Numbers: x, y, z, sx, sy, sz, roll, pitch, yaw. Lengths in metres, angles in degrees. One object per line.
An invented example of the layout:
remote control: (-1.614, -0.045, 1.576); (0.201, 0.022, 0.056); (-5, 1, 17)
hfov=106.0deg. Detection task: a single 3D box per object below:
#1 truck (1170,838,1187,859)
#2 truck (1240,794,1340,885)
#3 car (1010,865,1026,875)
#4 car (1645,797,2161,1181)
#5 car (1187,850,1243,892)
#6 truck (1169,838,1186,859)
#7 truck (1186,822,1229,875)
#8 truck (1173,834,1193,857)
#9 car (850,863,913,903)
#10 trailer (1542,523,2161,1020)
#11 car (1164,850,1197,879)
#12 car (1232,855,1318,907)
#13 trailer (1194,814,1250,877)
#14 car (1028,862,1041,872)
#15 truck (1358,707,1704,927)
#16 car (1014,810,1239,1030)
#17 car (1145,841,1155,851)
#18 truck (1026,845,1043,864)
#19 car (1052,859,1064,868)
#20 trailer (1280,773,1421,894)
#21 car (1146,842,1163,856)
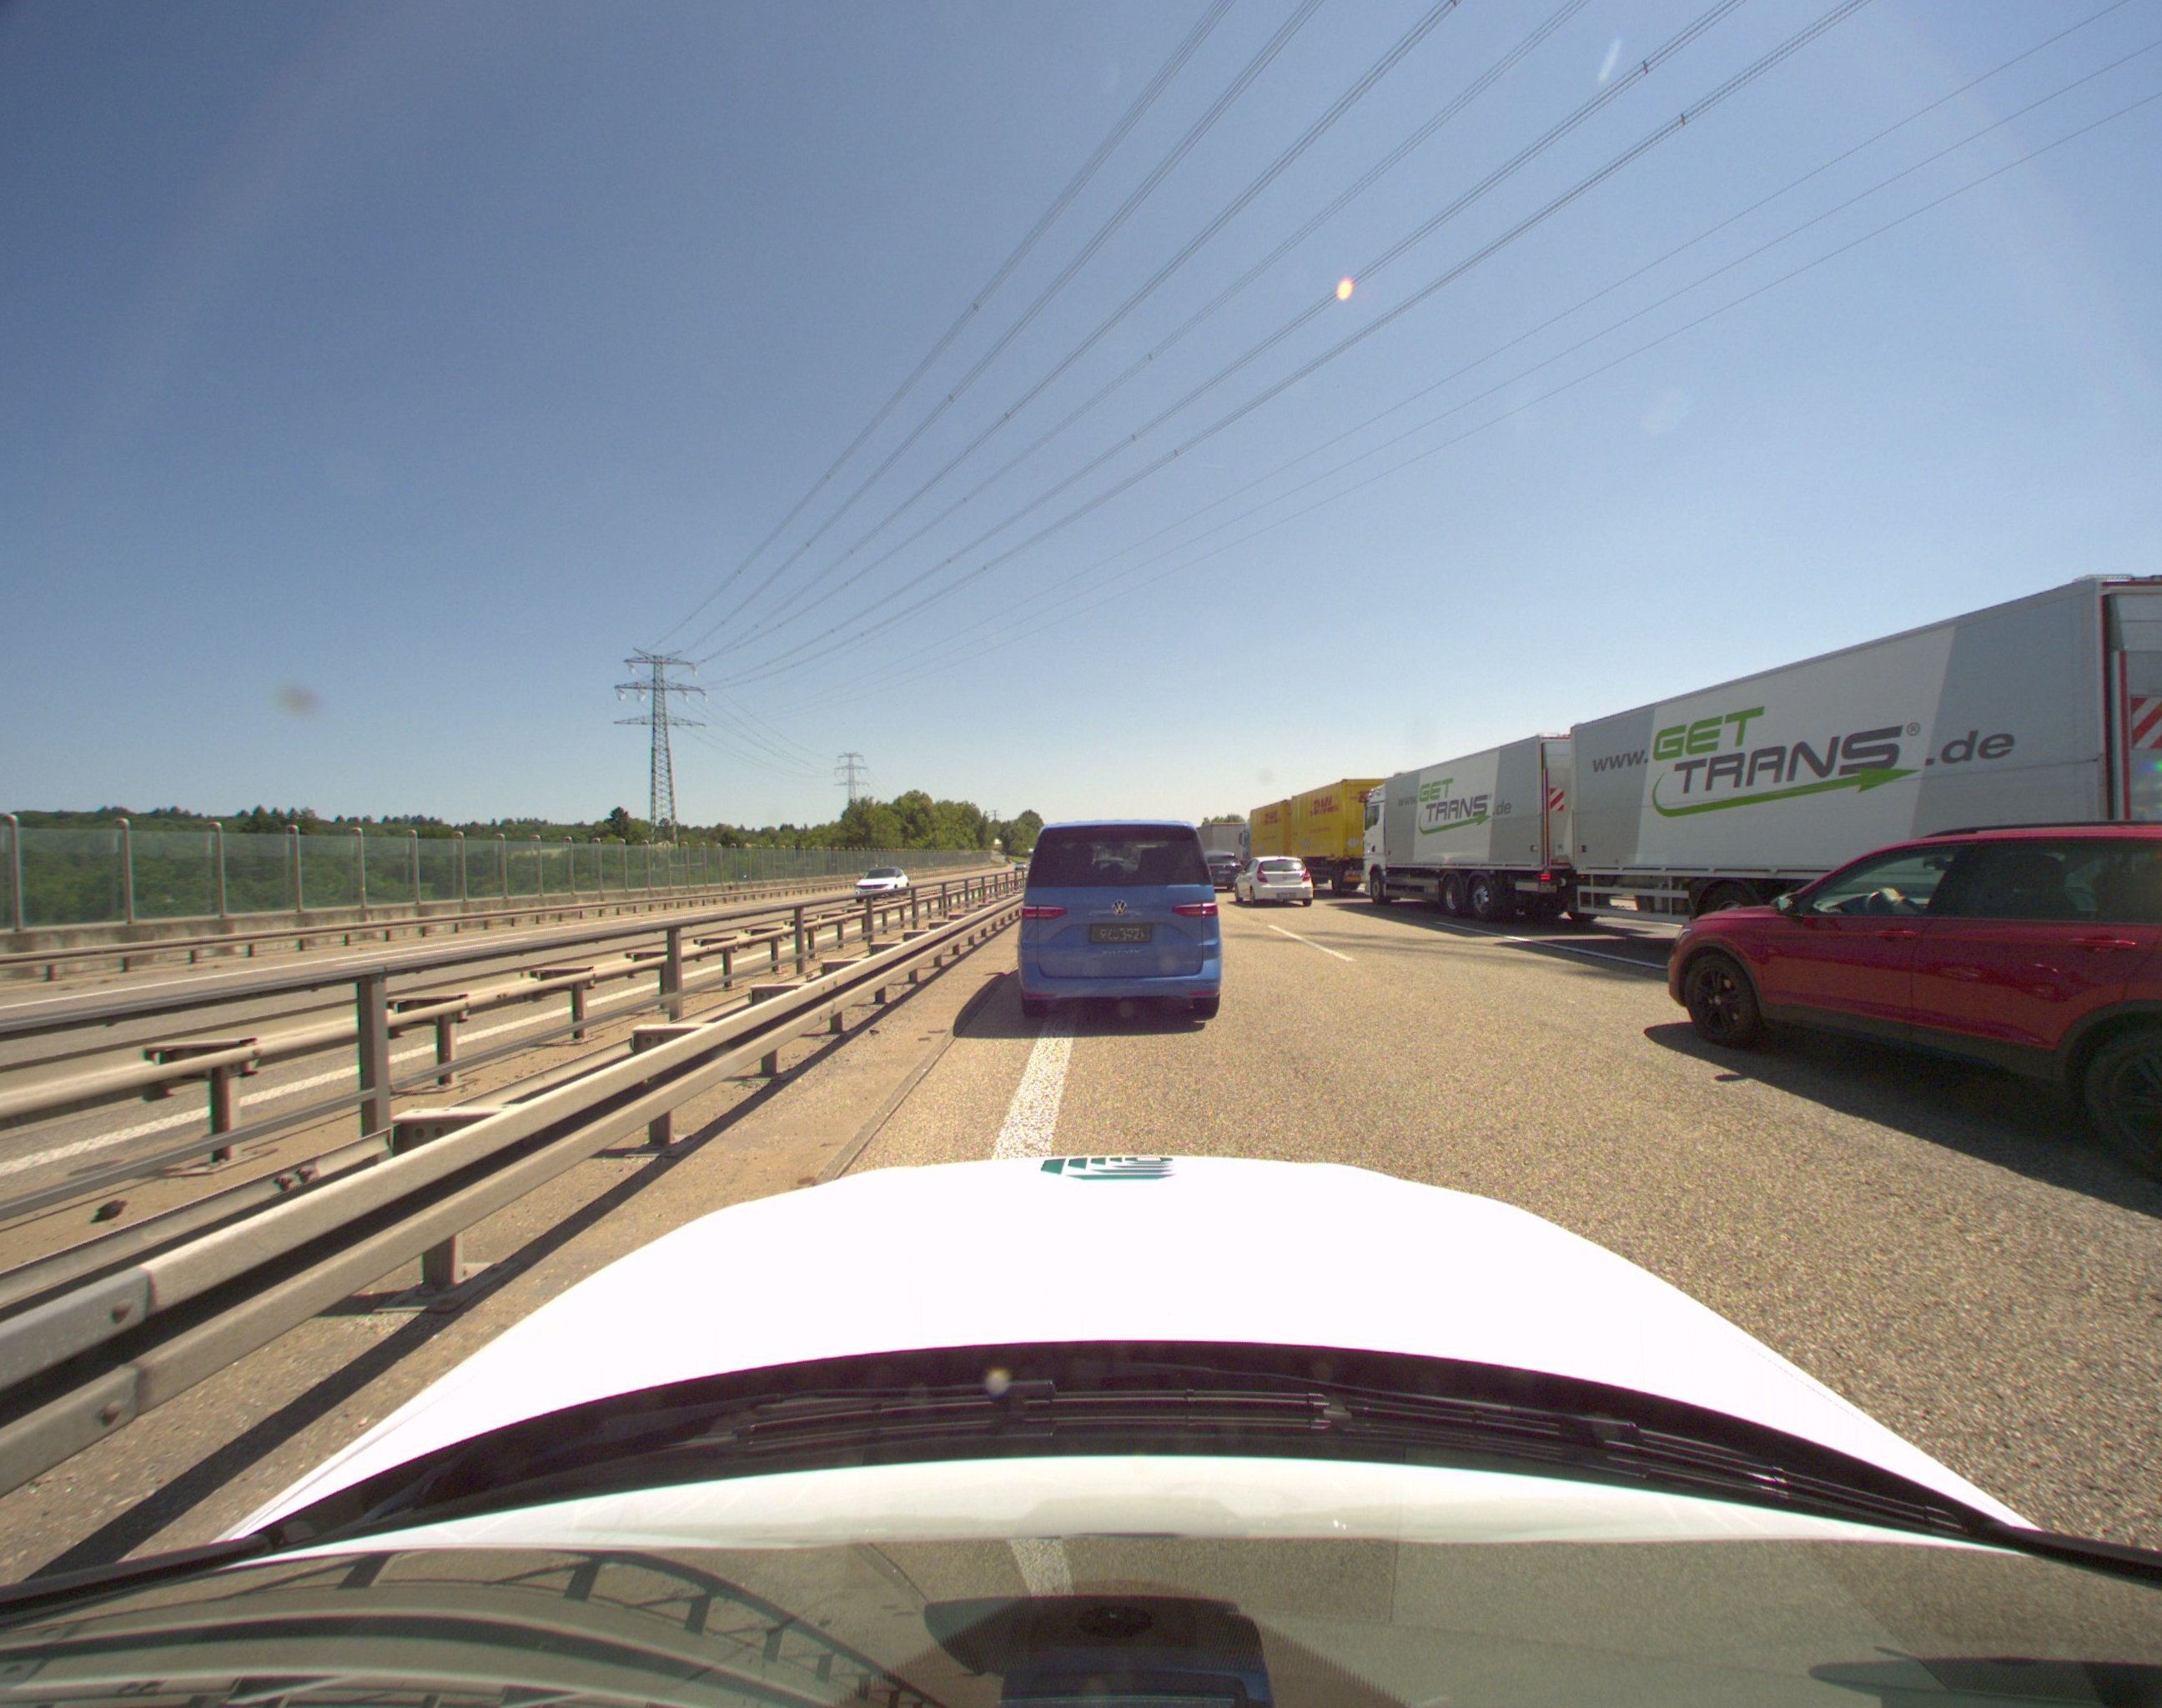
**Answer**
truck: (12.517, -0.724, 104.385); (1.790, 2.596, 4.307); (0, -1, 2)
truck: (10.389, -0.599, 41.595); (2.690, 4.088, 9.940); (0, -1, 1)
car: (-9.270, 2.342, 119.818); (1.865, 1.442, 4.386); (-3, -1, 1)
car: (5.620, 0.608, 4.822); (1.702, 1.679, 4.286); (0, -1, 2)
car: (5.724, 0.726, 35.236); (1.809, 1.679, 3.932); (0, -1, 1)
truck: (11.665, -0.644, 99.075); (1.735, 2.549, 4.212); (0, -1, 2)
truck: (11.544, -0.460, 74.991); (3.014, 4.611, 7.925); (0, -1, 2)
truck: (11.338, -0.926, 90.495); (1.791, 2.449, 4.506); (0, -1, 2)
car: (-9.163, 1.299, 37.716); (1.800, 1.640, 4.000); (-4, -1, 1)
trailer: (9.618, -0.609, 10.466); (2.888, 3.891, 8.216); (0, -1, 2)
car: (6.895, 0.749, 56.585); (1.955, 1.936, 3.933); (0, -1, 2)
car: (5.896, 0.788, 25.193); (1.808, 1.470, 3.933); (0, -1, 1)
trailer: (11.135, -0.575, 65.573); (3.014, 4.611, 10.930); (0, -1, 2)
car: (-8.605, 2.400, 151.116); (1.833, 1.822, 4.748); (-2, -1, 1)
truck: (9.872, -0.590, 19.933); (2.841, 3.934, 10.613); (0, -1, 2)
car: (0.457, 0.592, 8.987); (1.923, 1.874, 4.001); (0, -1, 2)
car: (12.901, -1.534, 152.773); (1.790, 1.751, 3.945); (0, -1, 2)
truck: (-11.069, 0.242, 193.722); (2.917, 4.293, 6.862); (-4, -1, 3)
car: (-4.117, 1.718, 146.533); (1.865, 1.530, 3.609); (-7, -1, 1)
trailer: (10.261, -0.645, 32.150); (2.673, 4.088, 8.980); (0, -1, 1)
car: (8.932, -0.603, 99.419); (1.912, 1.706, 4.001); (0, -1, 2)
